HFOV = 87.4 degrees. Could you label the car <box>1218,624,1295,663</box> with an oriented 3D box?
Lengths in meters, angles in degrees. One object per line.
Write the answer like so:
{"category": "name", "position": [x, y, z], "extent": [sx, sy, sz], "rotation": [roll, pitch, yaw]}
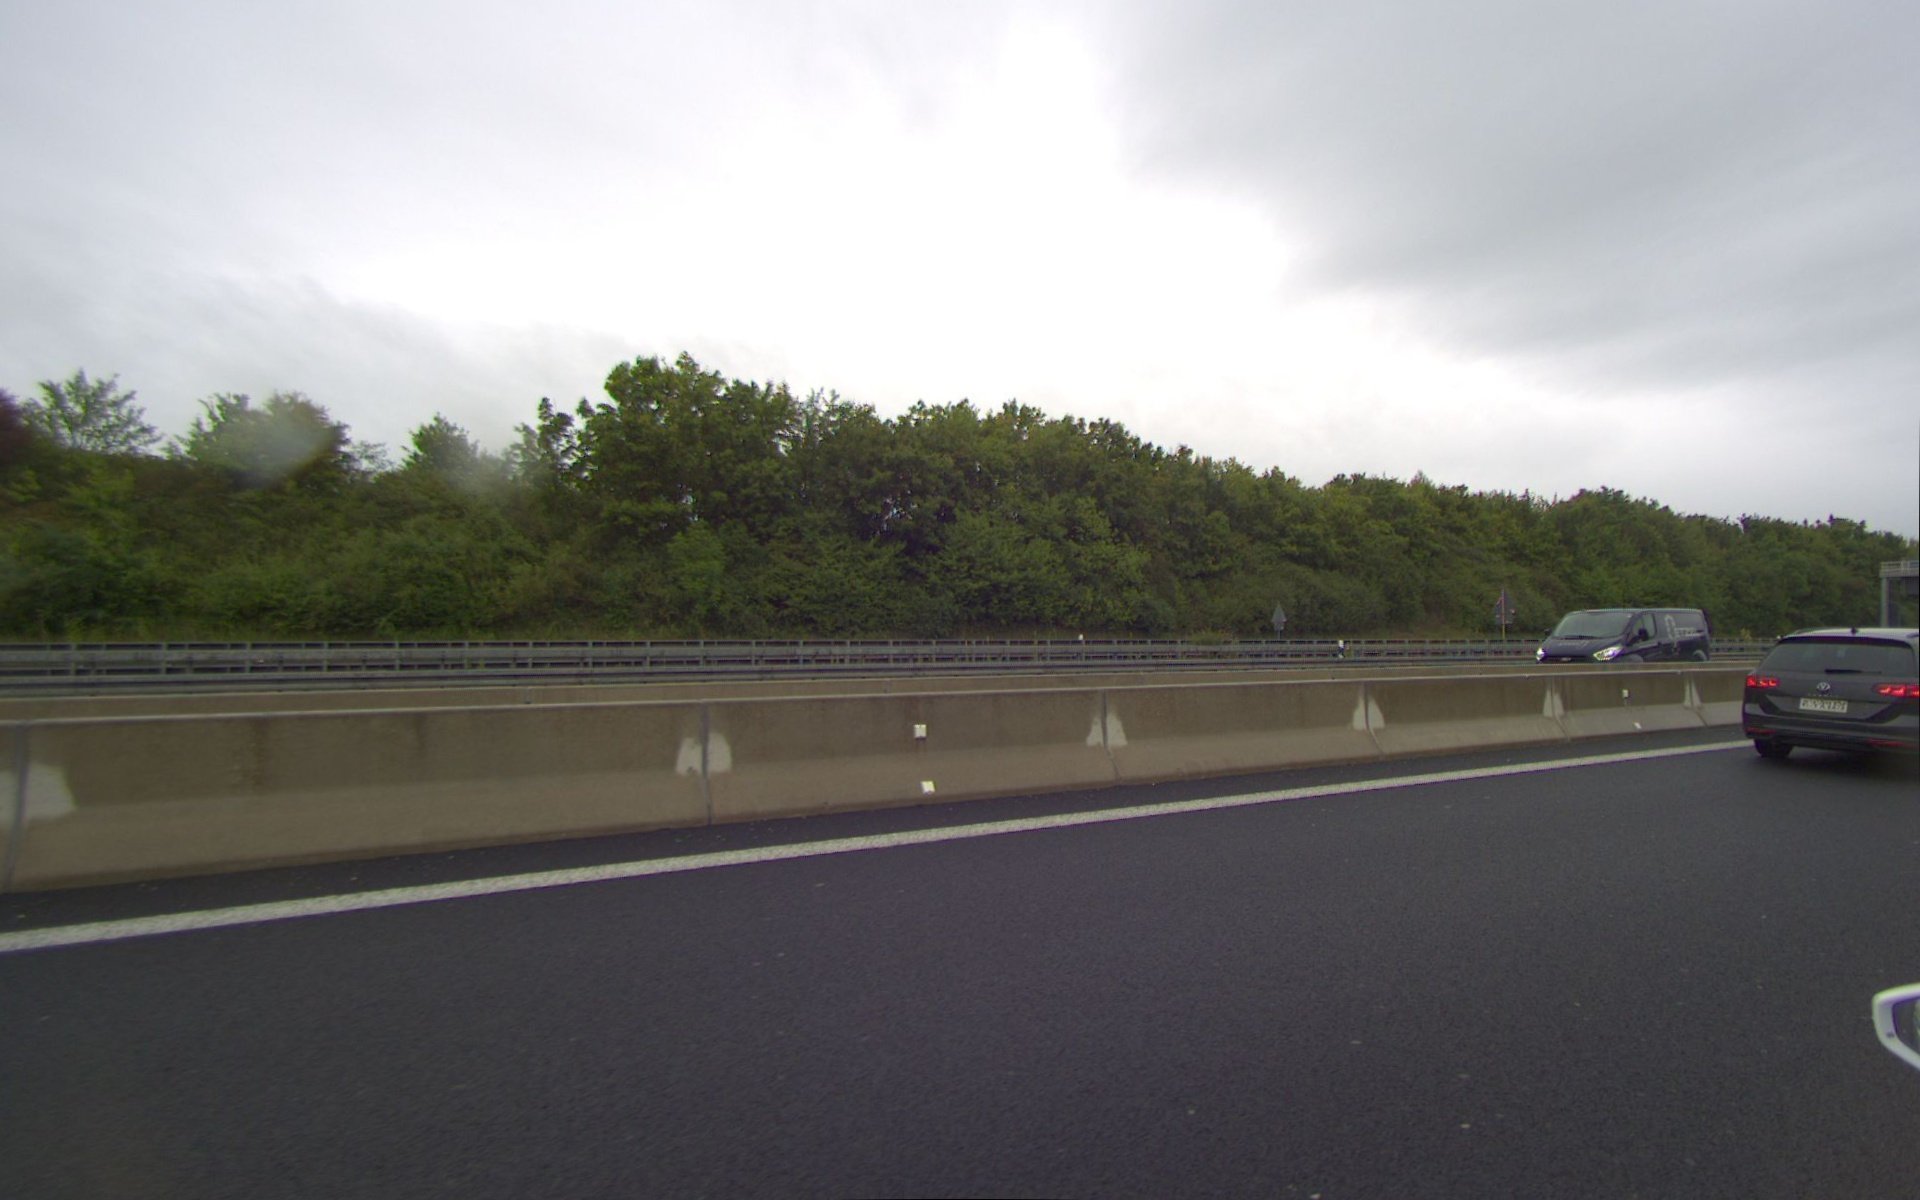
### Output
{"category": "car", "position": [16.042, 2.328, 54.257], "extent": [3.952, 2.040, 1.742], "rotation": [1, -1, -30]}

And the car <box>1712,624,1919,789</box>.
{"category": "car", "position": [10.528, 1.046, 11.134], "extent": [4.745, 1.478, 1.779], "rotation": [1, 0, -30]}

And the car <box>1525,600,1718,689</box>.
{"category": "car", "position": [15.431, 0.977, 23.367], "extent": [4.627, 1.861, 1.983], "rotation": [1, 0, -32]}

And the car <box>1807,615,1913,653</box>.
{"category": "car", "position": [37.349, 1.382, 41.669], "extent": [4.625, 1.454, 1.983], "rotation": [1, 0, -31]}
